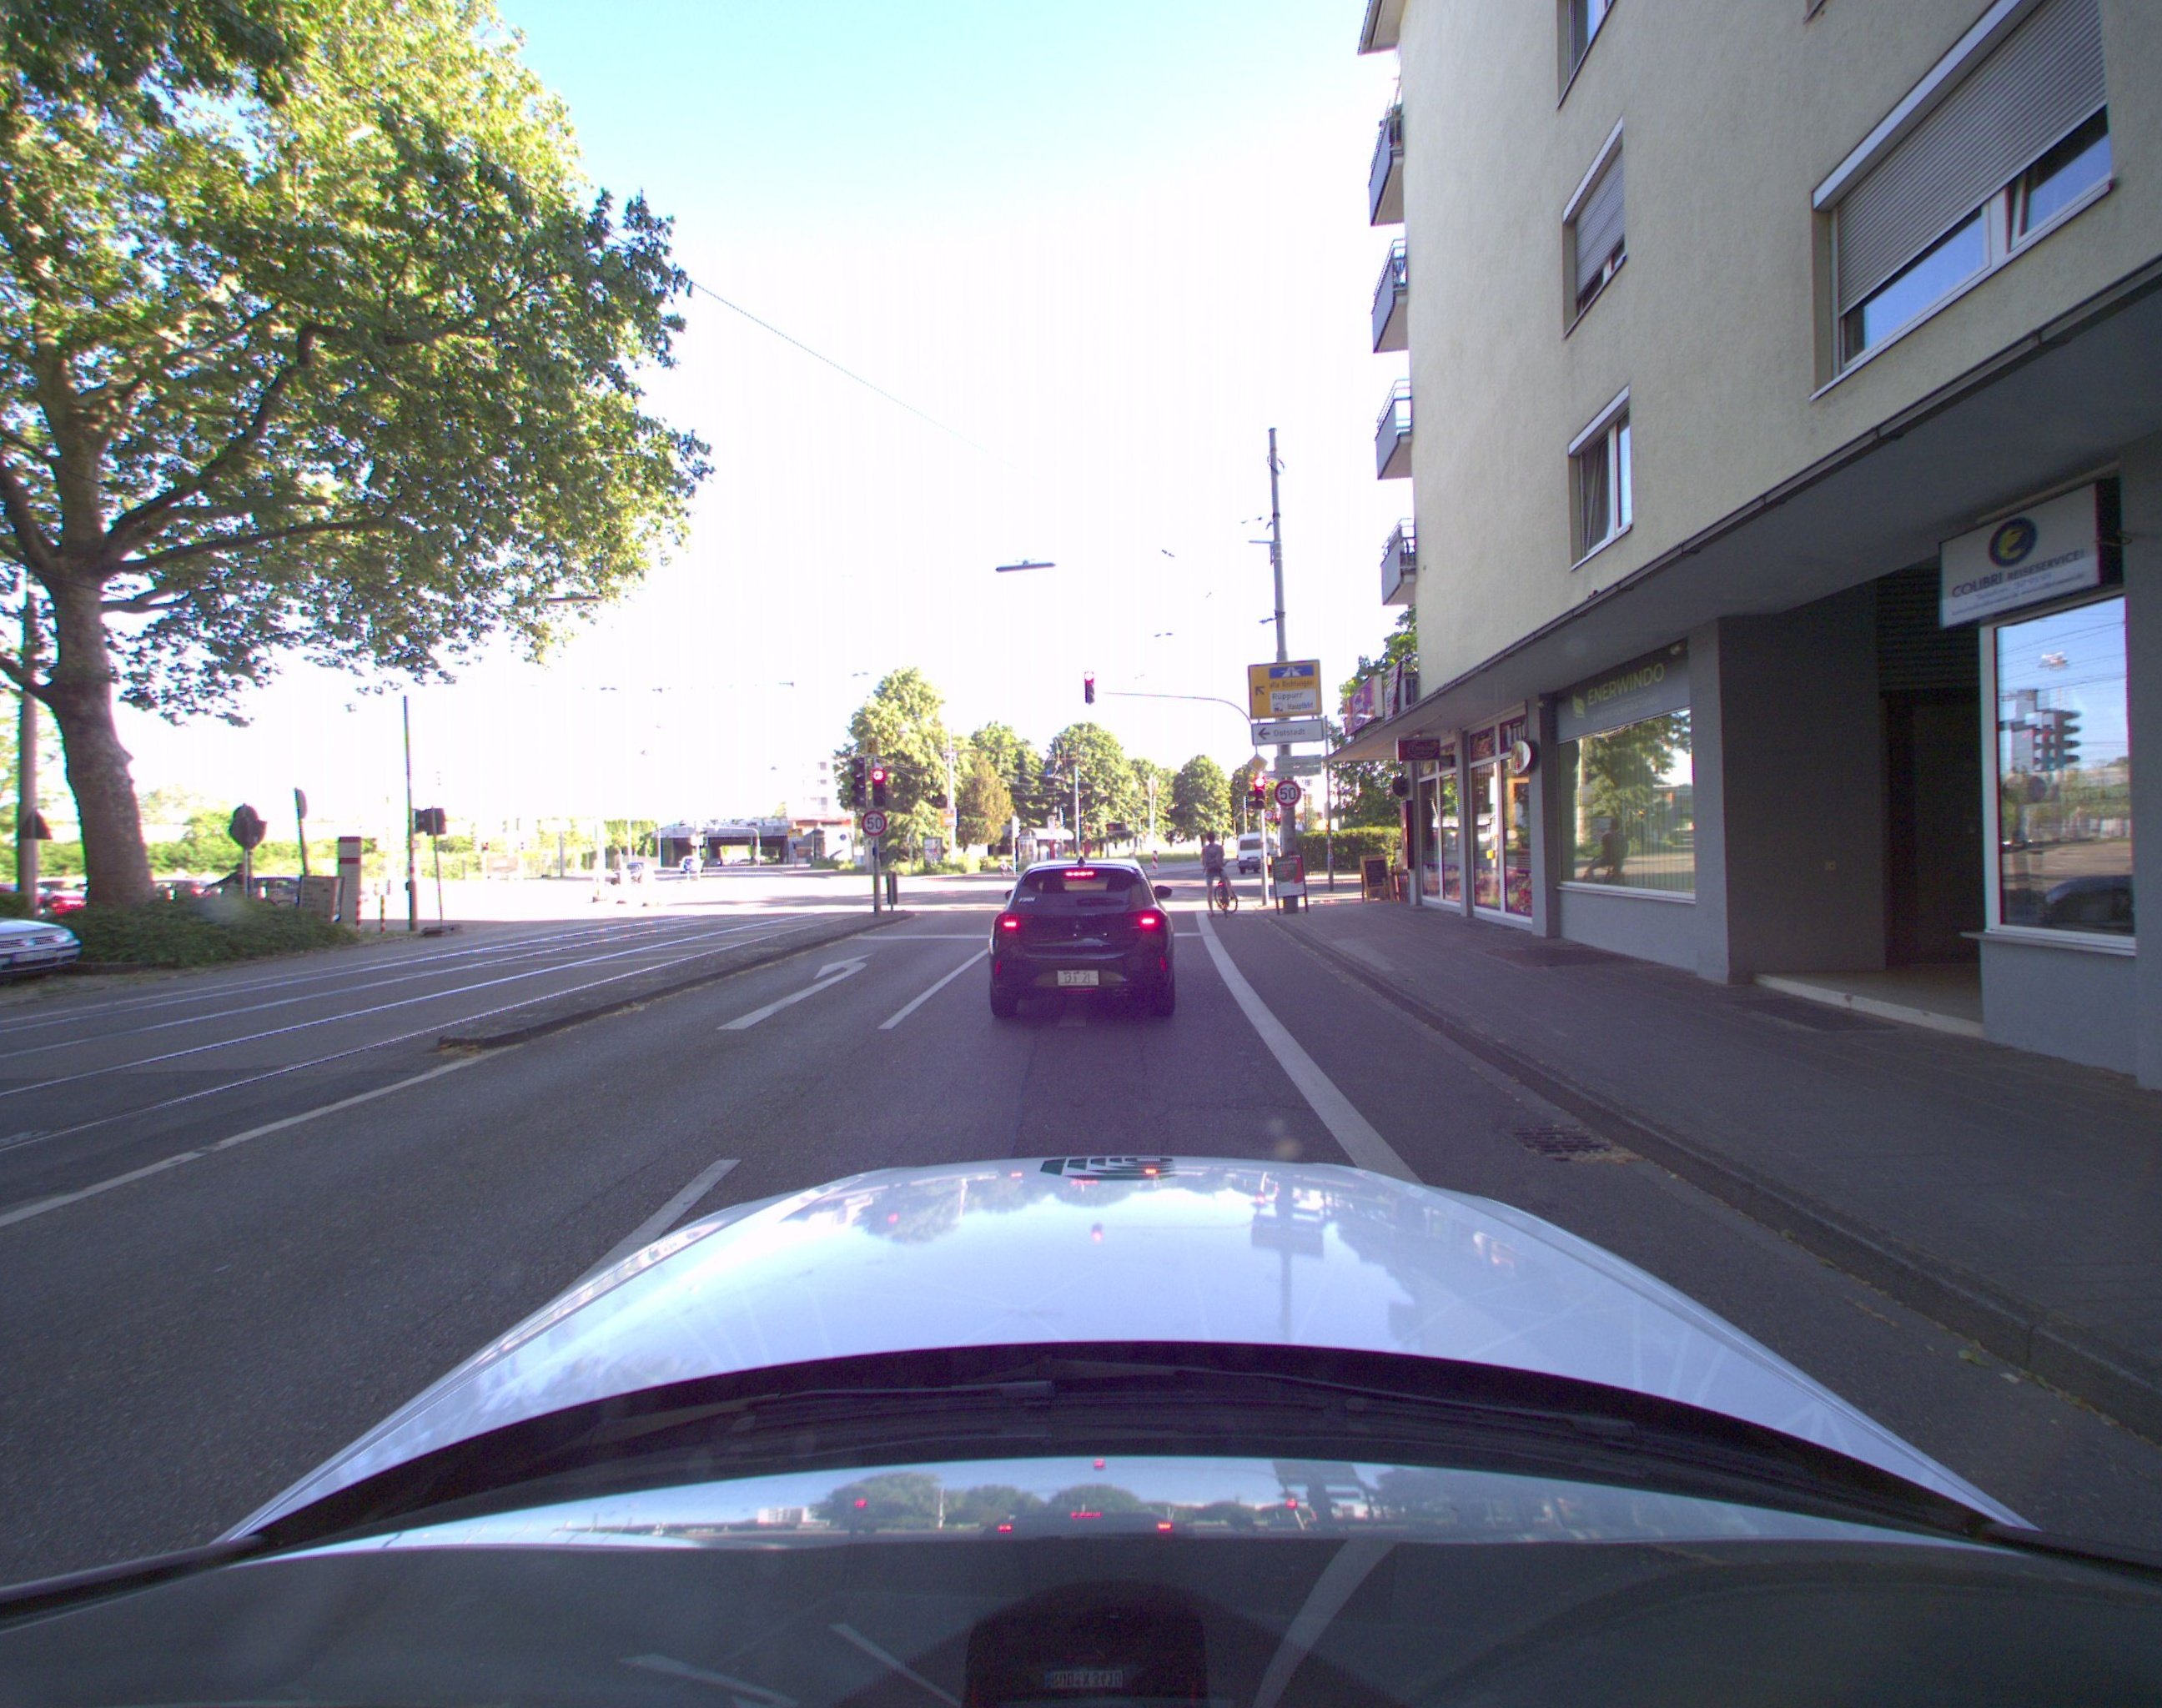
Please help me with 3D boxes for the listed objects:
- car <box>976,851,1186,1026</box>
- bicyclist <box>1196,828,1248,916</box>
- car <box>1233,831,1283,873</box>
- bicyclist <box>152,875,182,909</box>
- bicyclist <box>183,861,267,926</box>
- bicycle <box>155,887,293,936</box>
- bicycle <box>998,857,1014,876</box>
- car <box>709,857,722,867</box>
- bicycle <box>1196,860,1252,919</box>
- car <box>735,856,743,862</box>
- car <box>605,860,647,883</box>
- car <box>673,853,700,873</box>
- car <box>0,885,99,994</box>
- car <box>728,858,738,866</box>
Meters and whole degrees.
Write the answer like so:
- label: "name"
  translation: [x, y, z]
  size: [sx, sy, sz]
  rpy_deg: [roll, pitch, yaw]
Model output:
- label: "car"
  translation: [0.075, 0.694, 8.859]
  size: [1.720, 1.429, 4.189]
  rpy_deg: [-1, 0, 2]
- label: "bicyclist"
  translation: [3.056, 0.382, 17.728]
  size: [0.938, 1.851, 0.864]
  rpy_deg: [-2, 0, 1]
- label: "car"
  translation: [10.151, -0.148, 46.368]
  size: [2.046, 2.248, 4.912]
  rpy_deg: [-2, 0, 20]
- label: "bicyclist"
  translation: [-44.318, 1.846, 39.488]
  size: [0.869, 1.595, 0.641]
  rpy_deg: [-2, 0, -43]
- label: "bicyclist"
  translation: [-21.330, 0.959, 20.333]
  size: [1.117, 1.520, 0.915]
  rpy_deg: [-2, 0, -21]
- label: "bicycle"
  translation: [-21.331, 1.409, 20.339]
  size: [2.199, 1.033, 0.828]
  rpy_deg: [-2, 0, -21]
- label: "bicycle"
  translation: [-4.300, 0.729, 46.725]
  size: [0.603, 1.031, 1.983]
  rpy_deg: [-2, 0, 2]
- label: "car"
  translation: [-62.439, 1.404, 139.167]
  size: [2.003, 1.602, 4.213]
  rpy_deg: [-2, 0, -24]
- label: "bicycle"
  translation: [3.075, 0.742, 17.755]
  size: [0.857, 1.153, 2.172]
  rpy_deg: [-2, 0, 1]
- label: "car"
  translation: [-100.018, 1.342, 238.003]
  size: [2.004, 1.717, 3.965]
  rpy_deg: [-2, 0, -26]
- label: "car"
  translation: [-31.280, 1.157, 56.093]
  size: [1.830, 1.519, 3.870]
  rpy_deg: [0, 0, -18]
- label: "car"
  translation: [-38.560, 0.845, 79.591]
  size: [2.225, 1.823, 4.110]
  rpy_deg: [-2, 0, -27]
- label: "car"
  translation: [-16.959, 1.198, 11.351]
  size: [4.497, 1.429, 1.676]
  rpy_deg: [0, 0, 0]
- label: "car"
  translation: [-89.155, 1.983, 208.547]
  size: [2.004, 1.947, 4.461]
  rpy_deg: [-2, 0, -26]
